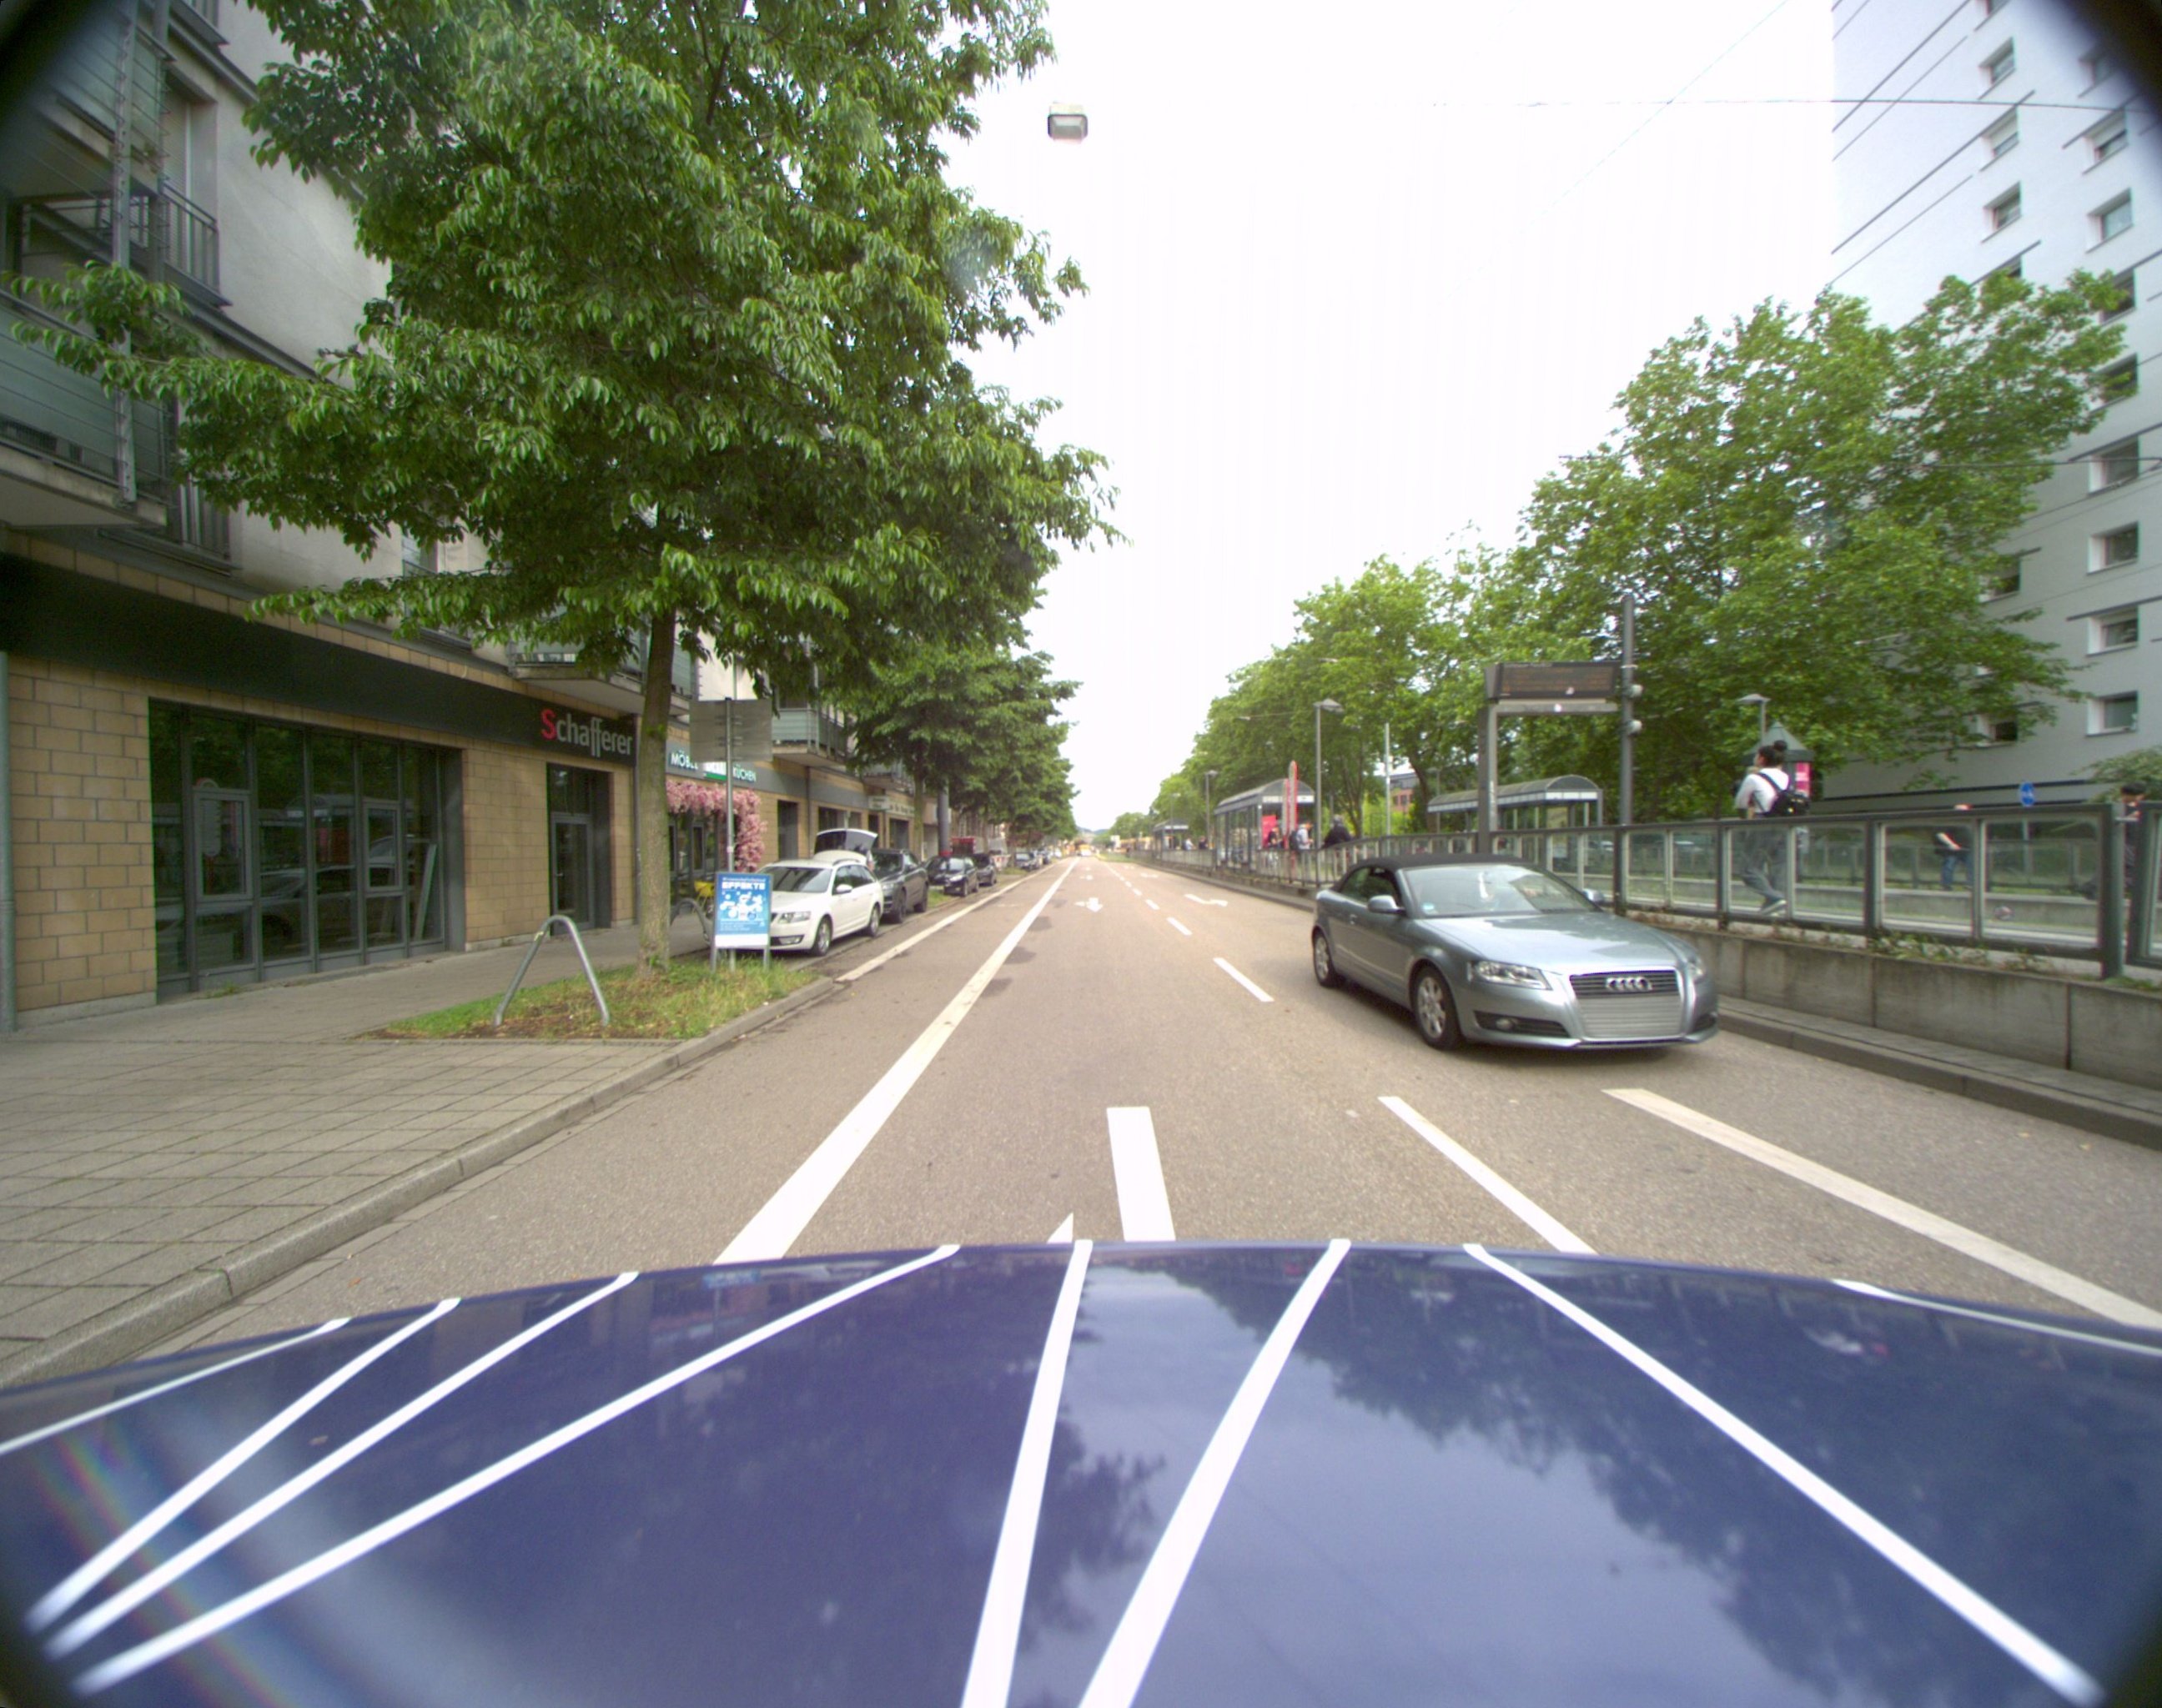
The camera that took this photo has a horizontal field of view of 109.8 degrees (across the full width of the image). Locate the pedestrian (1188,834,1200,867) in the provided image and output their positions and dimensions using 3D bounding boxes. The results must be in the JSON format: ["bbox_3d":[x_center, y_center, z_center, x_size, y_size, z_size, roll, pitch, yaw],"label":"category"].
[{"bbox_3d":[6.140,-0.181,41.344,0.530,1.794,0.606,-2,1,14],"label":"pedestrian"}]

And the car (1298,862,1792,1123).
[{"bbox_3d":[3.296,0.832,6.482,1.716,1.379,4.099,-2,1,1],"label":"car"}]

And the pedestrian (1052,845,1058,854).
[{"bbox_3d":[-5.752,-0.963,166.837,1.216,2.002,1.142,-1,1,1],"label":"pedestrian"}]

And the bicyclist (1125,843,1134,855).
[{"bbox_3d":[6.289,-0.652,98.384,0.814,1.458,0.724,-2,1,-32],"label":"bicyclist"}]

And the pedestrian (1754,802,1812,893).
[{"bbox_3d":[15.189,-0.141,16.446,0.699,1.919,0.554,-2,1,1],"label":"pedestrian"}]

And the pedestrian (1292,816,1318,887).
[{"bbox_3d":[5.748,-0.066,19.487,0.475,1.794,0.605,-2,1,5],"label":"pedestrian"}]

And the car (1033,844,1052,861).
[{"bbox_3d":[-3.966,-0.141,78.225,1.612,1.674,3.806,2,1,1],"label":"car"}]

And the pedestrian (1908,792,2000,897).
[{"bbox_3d":[15.834,-0.174,13.799,0.882,1.823,0.666,-2,1,1],"label":"pedestrian"}]

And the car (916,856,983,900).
[{"bbox_3d":[-4.637,0.796,27.280,1.612,1.370,4.167,2,1,1],"label":"car"}]

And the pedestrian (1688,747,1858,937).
[{"bbox_3d":[6.520,-0.108,7.219,0.720,1.661,0.979,-2,1,3],"label":"pedestrian"}]

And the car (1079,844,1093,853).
[{"bbox_3d":[1.118,-1.332,176.027,2.001,2.002,4.191,-3,1,-18],"label":"car"}]

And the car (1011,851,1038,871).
[{"bbox_3d":[-4.166,0.480,56.239,1.612,1.393,3.667,2,1,1],"label":"car"}]

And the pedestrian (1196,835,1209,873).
[{"bbox_3d":[5.847,-0.004,36.528,0.530,1.794,0.606,-2,1,14],"label":"pedestrian"}]

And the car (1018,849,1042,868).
[{"bbox_3d":[-4.126,0.365,62.168,1.612,1.393,3.667,2,1,1],"label":"car"}]

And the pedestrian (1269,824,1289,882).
[{"bbox_3d":[6.313,-0.031,24.204,0.474,1.794,0.606,-2,1,26],"label":"pedestrian"}]

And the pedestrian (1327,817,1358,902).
[{"bbox_3d":[5.707,0.117,16.584,0.521,1.794,0.605,-2,1,13],"label":"pedestrian"}]

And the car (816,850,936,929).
[{"bbox_3d":[-4.714,0.744,18.008,1.738,1.601,3.798,2,1,1],"label":"car"}]

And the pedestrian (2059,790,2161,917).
[{"bbox_3d":[15.090,-0.025,10.944,0.882,1.746,0.850,-2,1,1],"label":"pedestrian"}]

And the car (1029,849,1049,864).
[{"bbox_3d":[-3.972,0.209,72.455,1.612,1.393,3.667,2,1,1],"label":"car"}]

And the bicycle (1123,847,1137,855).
[{"bbox_3d":[6.322,-0.382,98.376,1.785,0.925,0.490,-3,1,-32],"label":"bicycle"}]

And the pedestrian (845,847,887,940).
[{"bbox_3d":[-4.446,0.802,15.753,0.656,1.873,0.599,-1,1,1],"label":"pedestrian"}]

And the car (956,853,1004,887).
[{"bbox_3d":[-4.556,0.686,34.741,1.612,1.393,3.667,2,1,1],"label":"car"}]

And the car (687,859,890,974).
[{"bbox_3d":[-4.718,0.903,13.005,1.738,1.512,4.308,2,1,1],"label":"car"}]
